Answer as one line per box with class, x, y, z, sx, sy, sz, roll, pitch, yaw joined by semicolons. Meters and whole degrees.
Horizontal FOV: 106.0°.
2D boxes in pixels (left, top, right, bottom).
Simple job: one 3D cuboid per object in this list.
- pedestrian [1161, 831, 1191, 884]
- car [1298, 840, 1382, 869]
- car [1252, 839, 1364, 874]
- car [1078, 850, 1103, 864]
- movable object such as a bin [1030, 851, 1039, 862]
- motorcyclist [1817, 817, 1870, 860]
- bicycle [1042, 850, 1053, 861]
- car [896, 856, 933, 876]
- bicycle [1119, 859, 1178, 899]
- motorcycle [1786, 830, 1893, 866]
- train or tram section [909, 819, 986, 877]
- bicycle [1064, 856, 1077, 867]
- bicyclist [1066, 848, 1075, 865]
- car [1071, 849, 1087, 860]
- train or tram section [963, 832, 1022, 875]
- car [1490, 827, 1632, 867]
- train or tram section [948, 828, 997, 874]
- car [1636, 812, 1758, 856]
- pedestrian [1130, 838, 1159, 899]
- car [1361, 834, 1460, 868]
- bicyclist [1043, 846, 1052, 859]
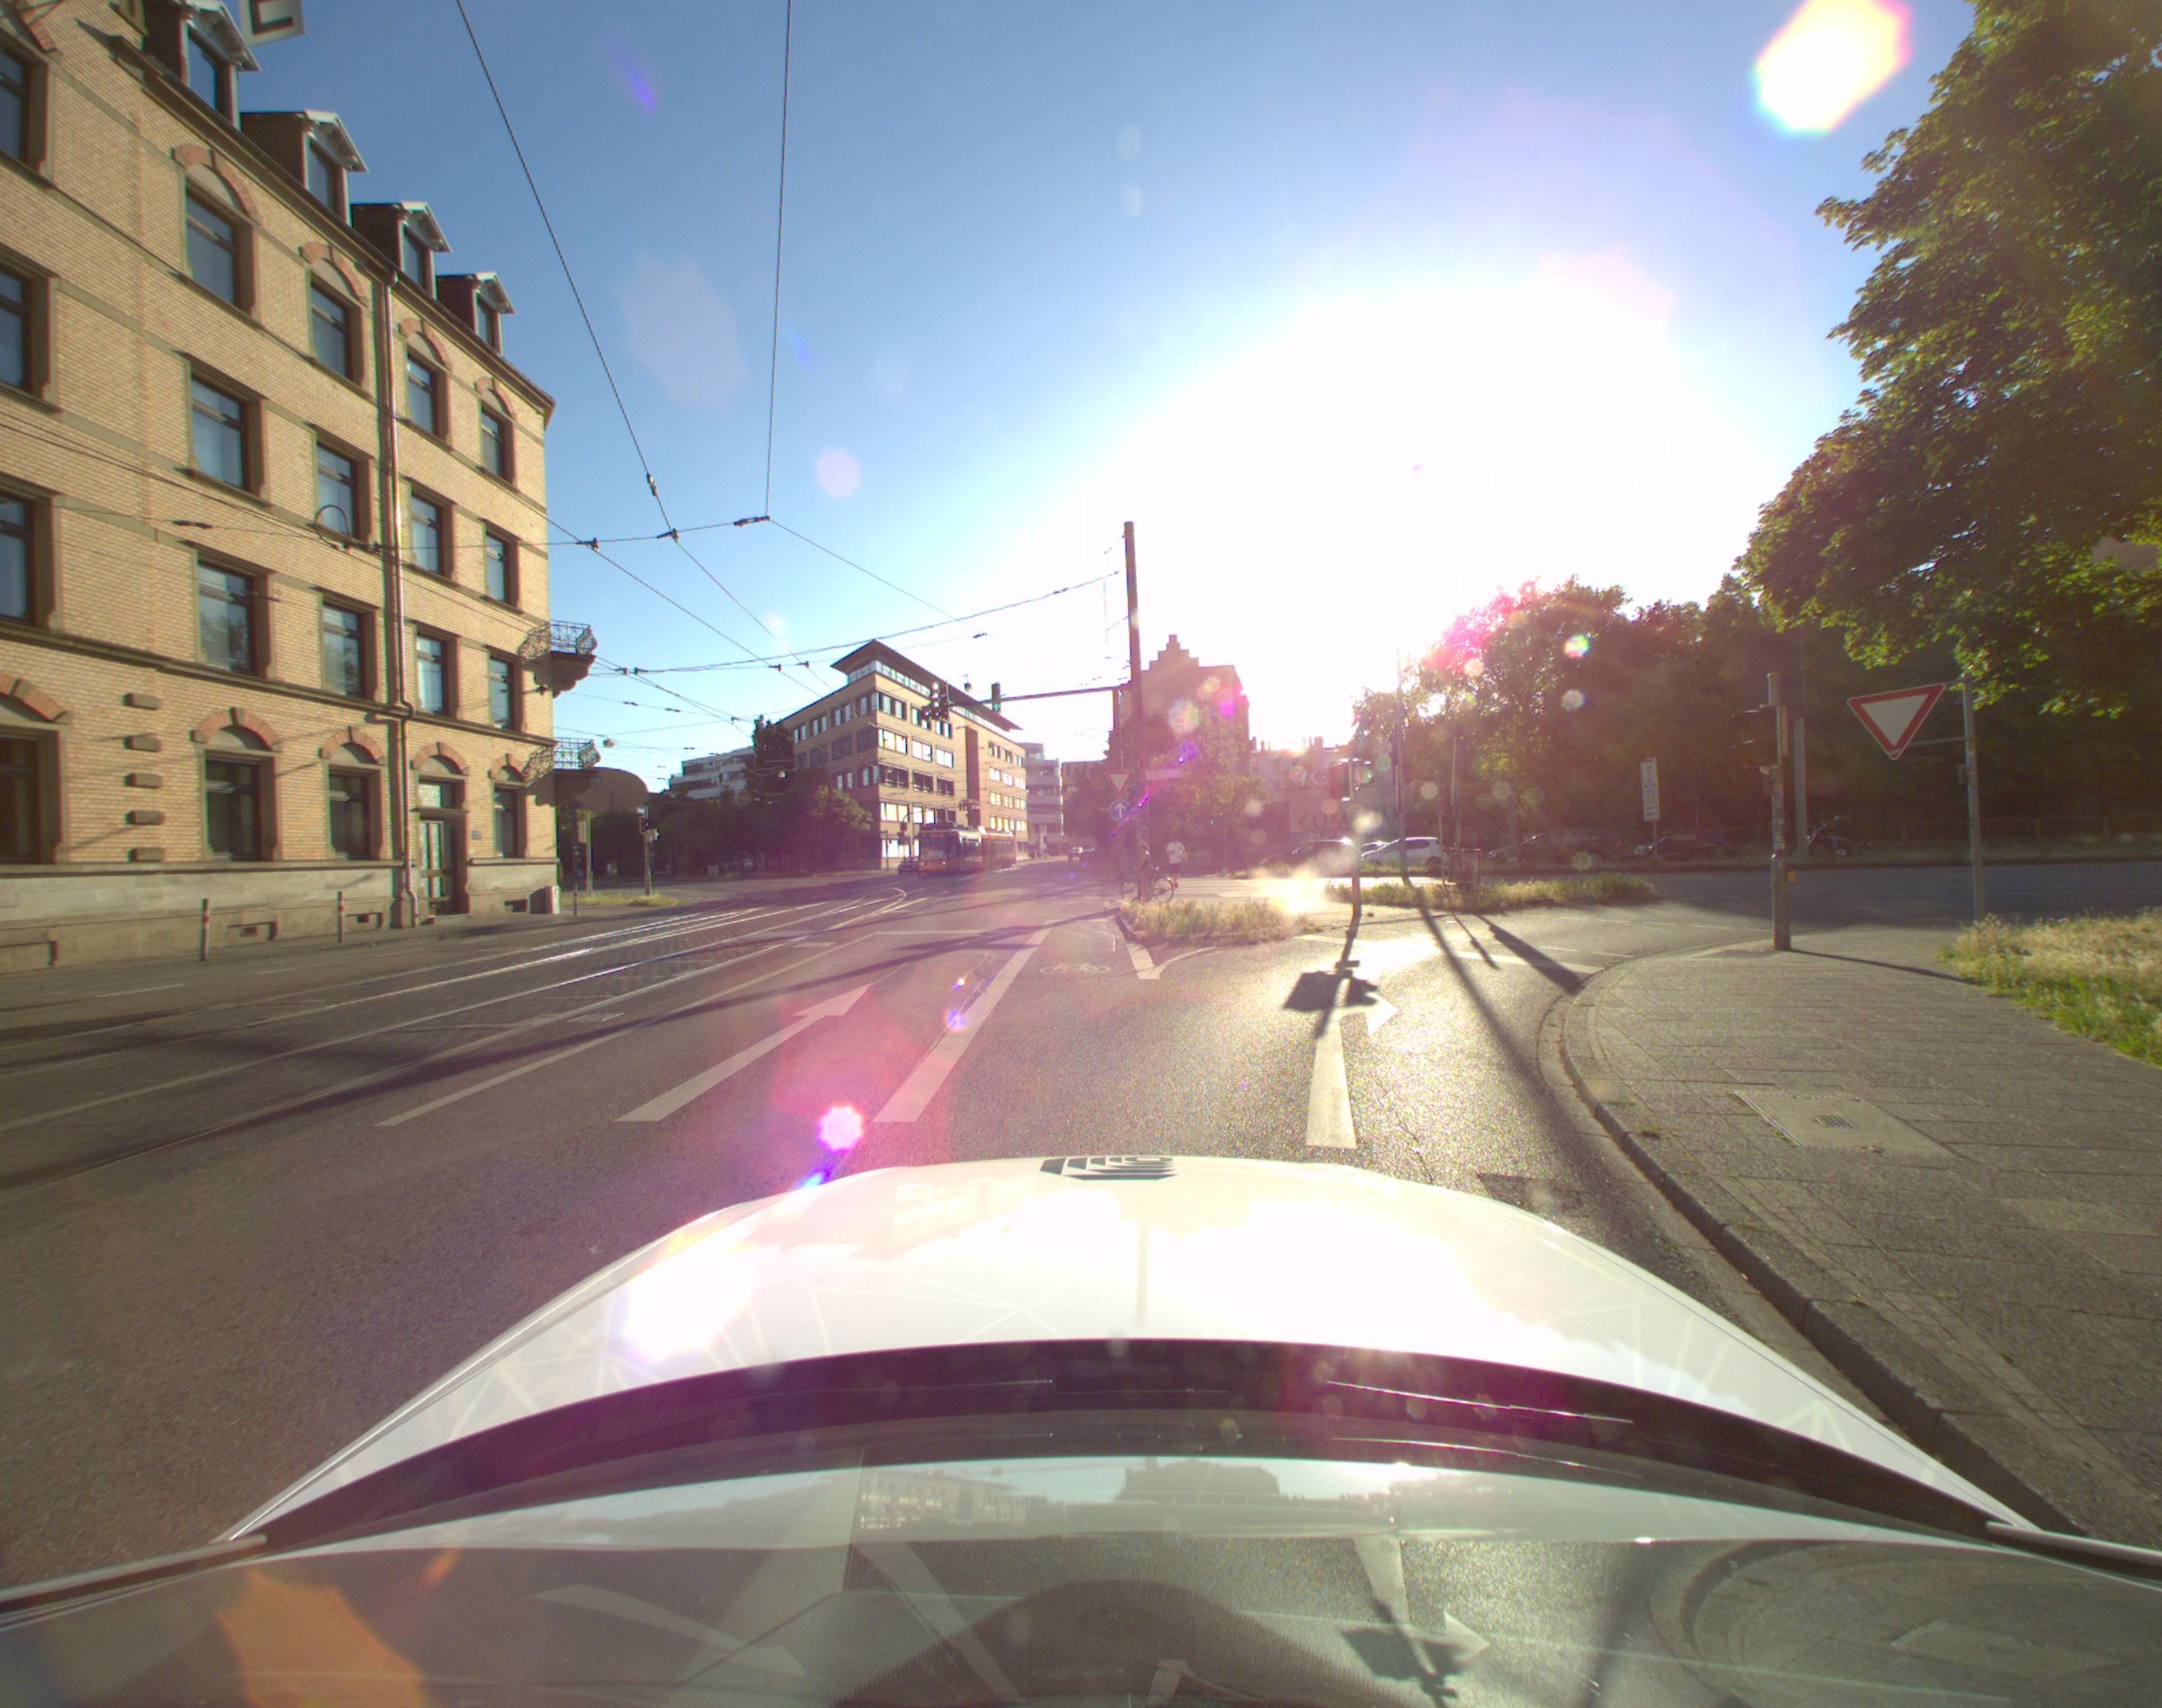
pedestrian;3.269;0.123;28.022;0.903;1.789;0.829;-2;0;9
car;13.051;0.020;41.002;3.848;1.296;1.734;-2;0;22
car;9.432;0.110;33.862;4.196;1.296;1.734;-2;0;26
car;1.013;0.346;85.907;1.773;1.388;4.014;-2;0;12
movable object such as a bin;-6.956;0.359;122.092;1.060;1.628;0.891;-2;0;8
motorcyclist;25.469;-0.507;27.224;1.048;1.398;0.859;-2;0;24
bicycle;-5.047;0.214;122.579;1.023;1.651;2.569;-2;0;13
car;-12.334;0.858;60.457;1.802;1.380;4.163;-2;0;1
bicycle;1.814;0.683;22.015;1.651;1.029;0.402;-2;0;43
motorcycle;25.350;-0.201;27.278;2.439;1.108;0.866;-2;0;24
train or tram section;-9.077;-0.369;57.209;2.850;3.507;13.019;-2;0;1
bicycle;-0.972;0.678;74.626;0.690;0.877;2.033;-2;0;12
bicyclist;-0.978;0.248;74.677;0.669;1.522;0.816;-2;0;12
car;-0.265;0.039;132.611;1.804;1.614;4.478;-2;0;10
train or tram section;-7.917;-0.080;74.480;2.846;3.507;11.317;-2;0;6
car;17.477;-0.238;29.899;4.323;1.296;1.734;-2;0;24
train or tram section;-8.753;-0.218;66.290;2.848;3.507;5.309;-2;0;4
car;26.371;-0.818;35.040;3.949;1.794;1.760;0;-1;28
pedestrian;1.707;0.389;21.890;0.519;1.631;0.492;-2;0;43
car;14.276;-0.115;35.400;3.848;1.319;1.734;-2;0;22
bicyclist;-5.088;-0.191;122.488;1.023;2.014;1.251;0;-1;12
